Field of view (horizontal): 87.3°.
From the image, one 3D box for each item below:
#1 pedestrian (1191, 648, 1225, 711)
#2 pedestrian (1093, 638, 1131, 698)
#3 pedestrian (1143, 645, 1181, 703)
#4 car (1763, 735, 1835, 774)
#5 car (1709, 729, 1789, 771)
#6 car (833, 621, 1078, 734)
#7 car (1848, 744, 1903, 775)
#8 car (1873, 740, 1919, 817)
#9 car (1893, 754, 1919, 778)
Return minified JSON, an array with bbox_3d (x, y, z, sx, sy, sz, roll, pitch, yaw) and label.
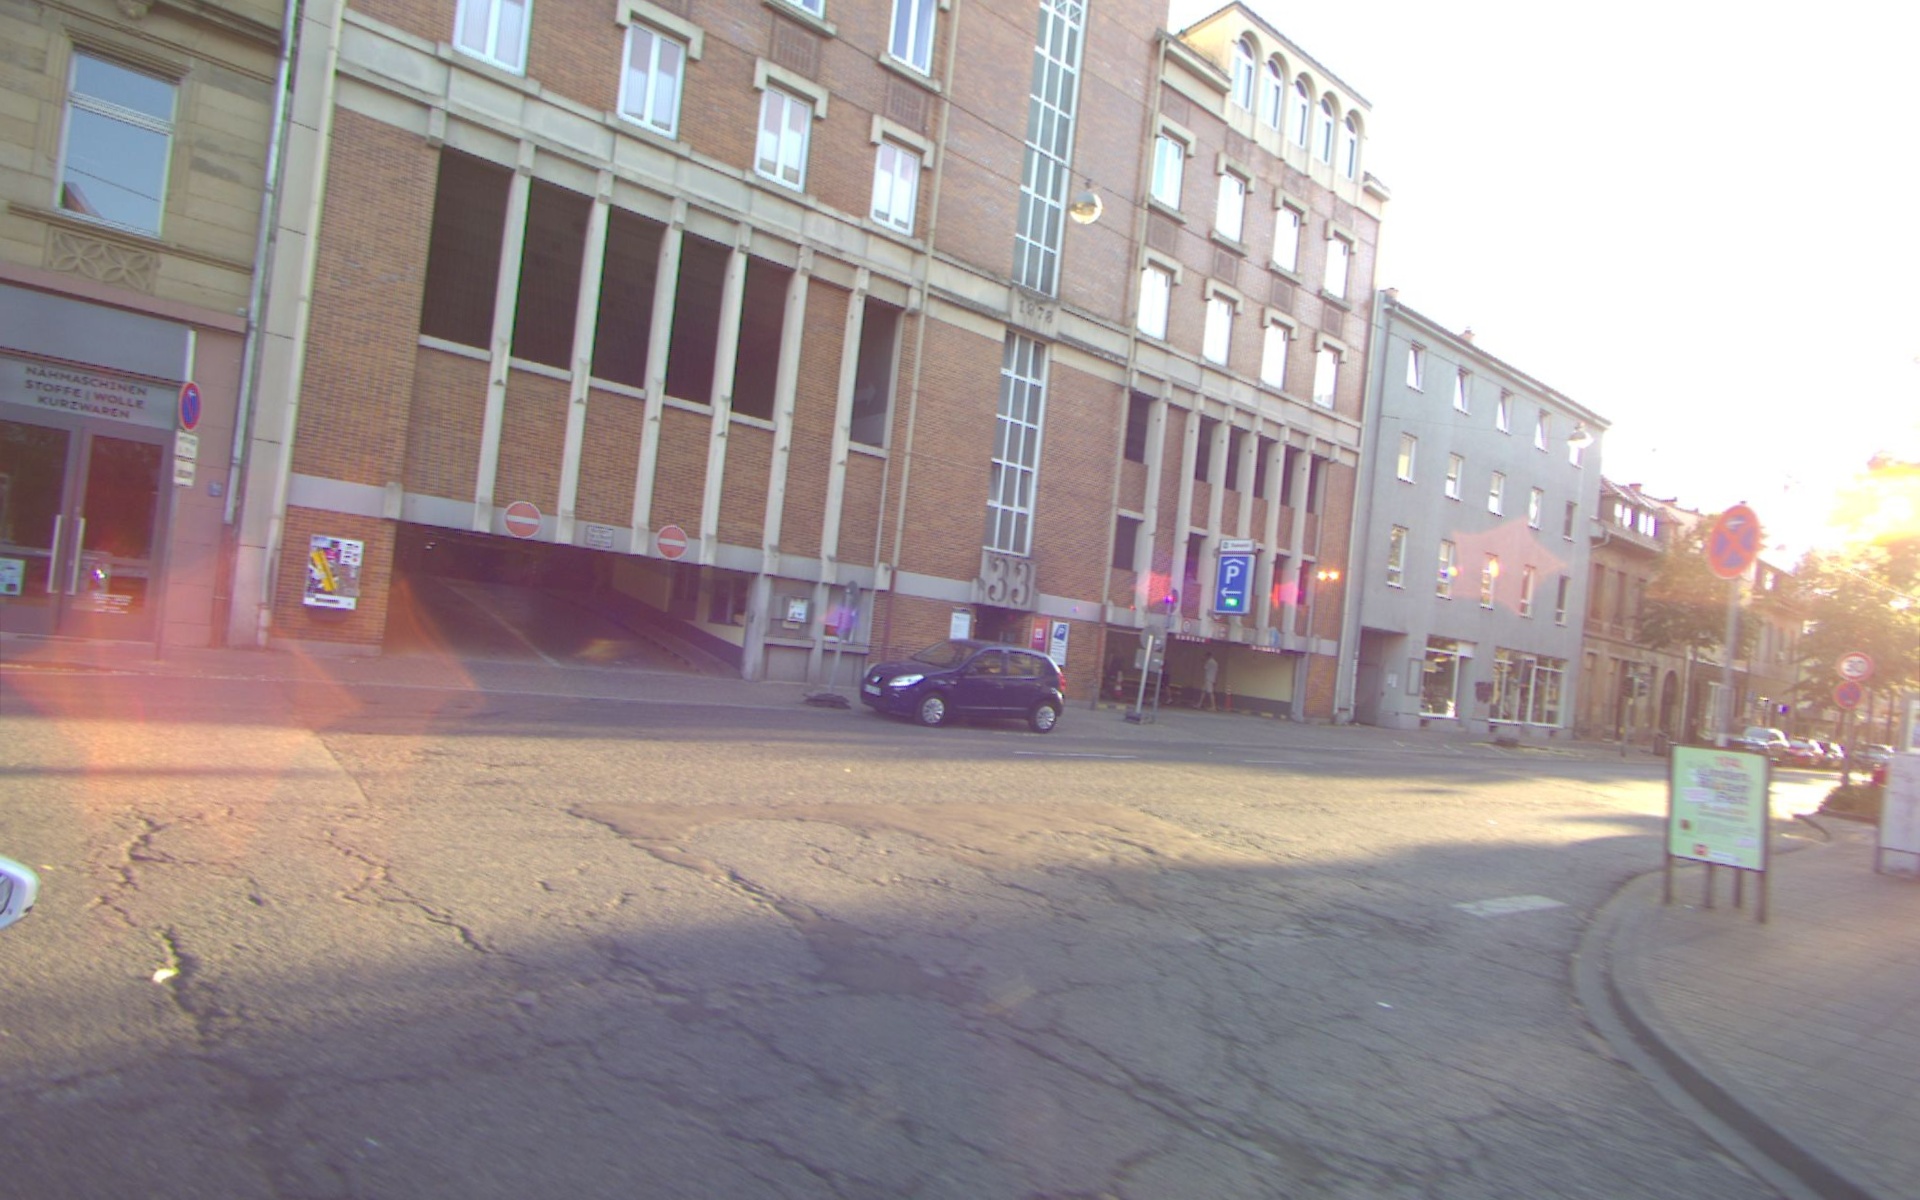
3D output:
[{"bbox_3d":[7.647,2.464,31.030,0.668,1.850,0.674,6,-1,30],"label":"pedestrian"},{"bbox_3d":[5.063,2.265,33.466,0.883,1.854,0.635,6,-1,36],"label":"pedestrian"},{"bbox_3d":[6.581,2.423,32.767,0.882,1.771,0.674,6,-1,30],"label":"pedestrian"},{"bbox_3d":[42.437,7.821,50.860,3.969,1.570,1.980,8,-3,-38],"label":"car"},{"bbox_3d":[36.684,6.998,46.773,3.969,1.570,1.980,8,-3,-38],"label":"car"},{"bbox_3d":[-0.039,1.446,18.420,3.967,1.537,1.981,9,-2,-37],"label":"car"},{"bbox_3d":[56.211,9.807,61.748,4.253,1.570,1.739,8,-3,-38],"label":"car"},{"bbox_3d":[22.355,4.066,21.121,1.803,1.559,4.400,8,-3,-38],"label":"car"},{"bbox_3d":[65.946,11.473,69.193,3.969,1.403,1.980,9,-3,-38],"label":"car"}]
